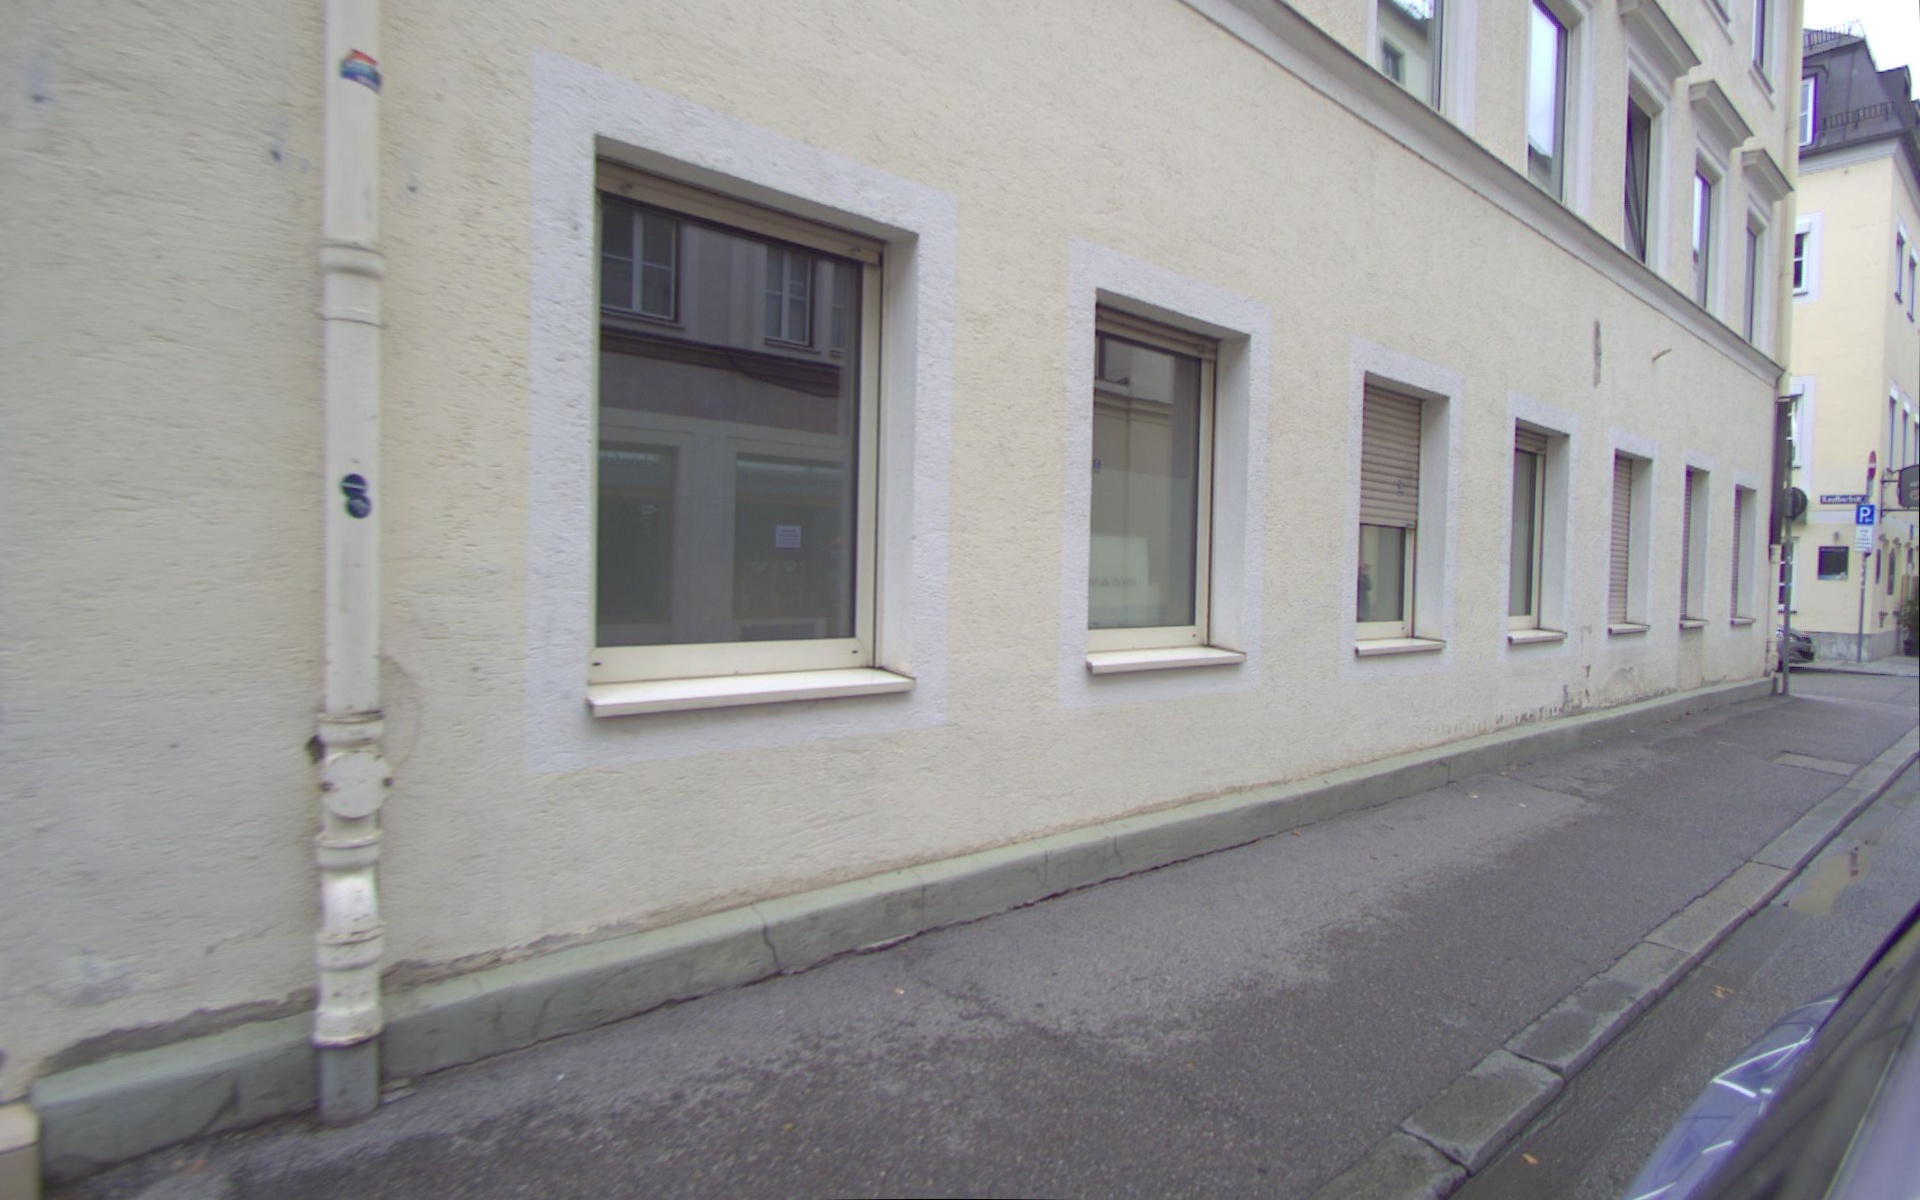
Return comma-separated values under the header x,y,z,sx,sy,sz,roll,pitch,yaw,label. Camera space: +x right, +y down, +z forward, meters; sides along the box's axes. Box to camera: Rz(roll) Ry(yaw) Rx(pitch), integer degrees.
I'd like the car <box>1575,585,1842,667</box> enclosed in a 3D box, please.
x,y,z,sx,sy,sz,roll,pitch,yaw,label
15.036,0.482,20.508,1.732,1.459,4.025,3,-1,-39,car
